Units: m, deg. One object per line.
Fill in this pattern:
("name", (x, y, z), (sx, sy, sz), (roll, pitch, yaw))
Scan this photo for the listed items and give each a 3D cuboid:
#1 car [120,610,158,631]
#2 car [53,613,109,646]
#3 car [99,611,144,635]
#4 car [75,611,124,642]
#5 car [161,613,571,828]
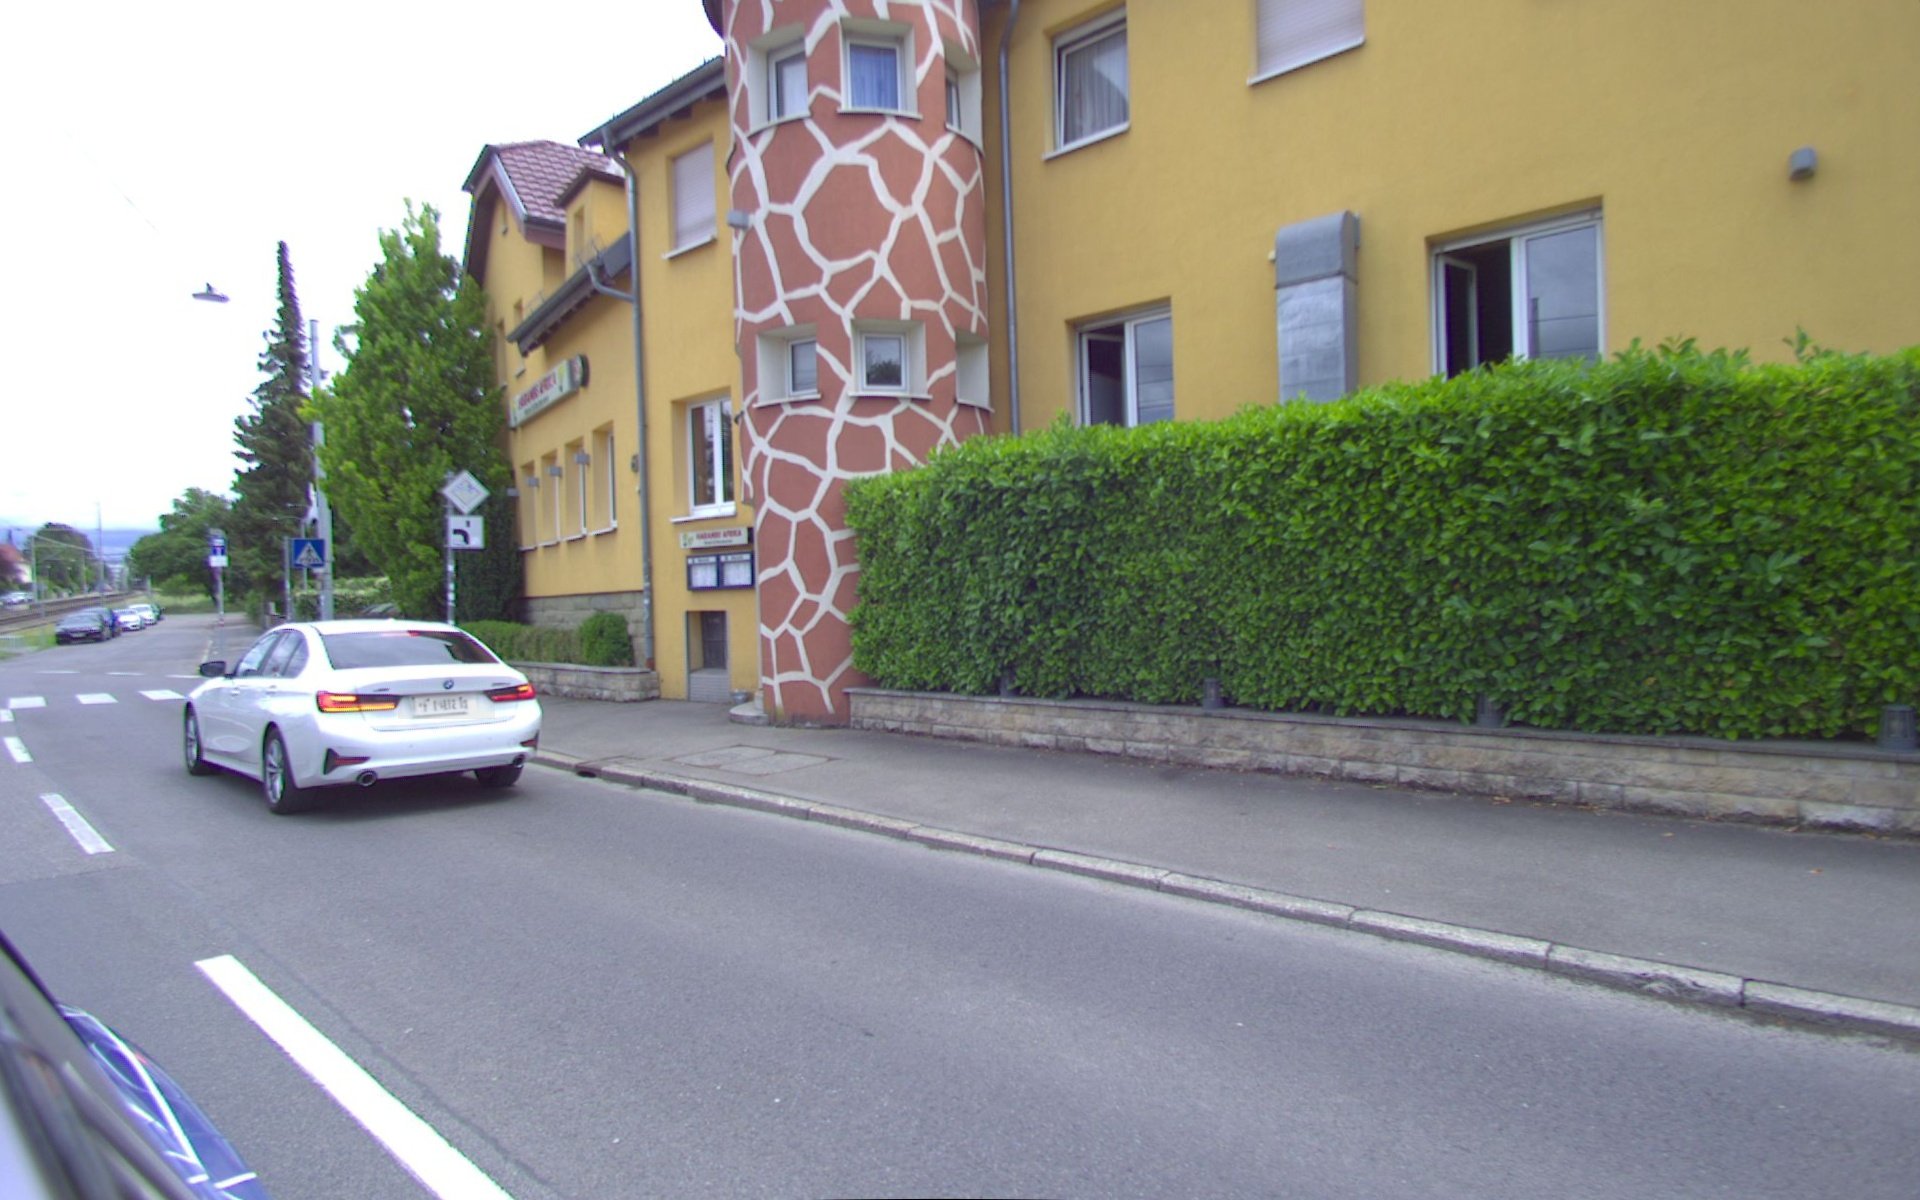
("car", (-59.742, 1.474, 73.721), (1.824, 1.386, 4.010), (-3, 1, -35))
("car", (-43.737, 1.428, 50.438), (1.793, 1.512, 4.128), (-3, 1, -37))
("car", (-53.402, 1.457, 64.499), (1.824, 1.386, 4.010), (-3, 1, -35))
("car", (-47.365, 1.430, 55.759), (1.793, 1.512, 4.128), (-3, 1, -37))
("car", (-5.387, 0.859, 8.912), (4.461, 1.430, 1.799), (-1, -2, 41))
